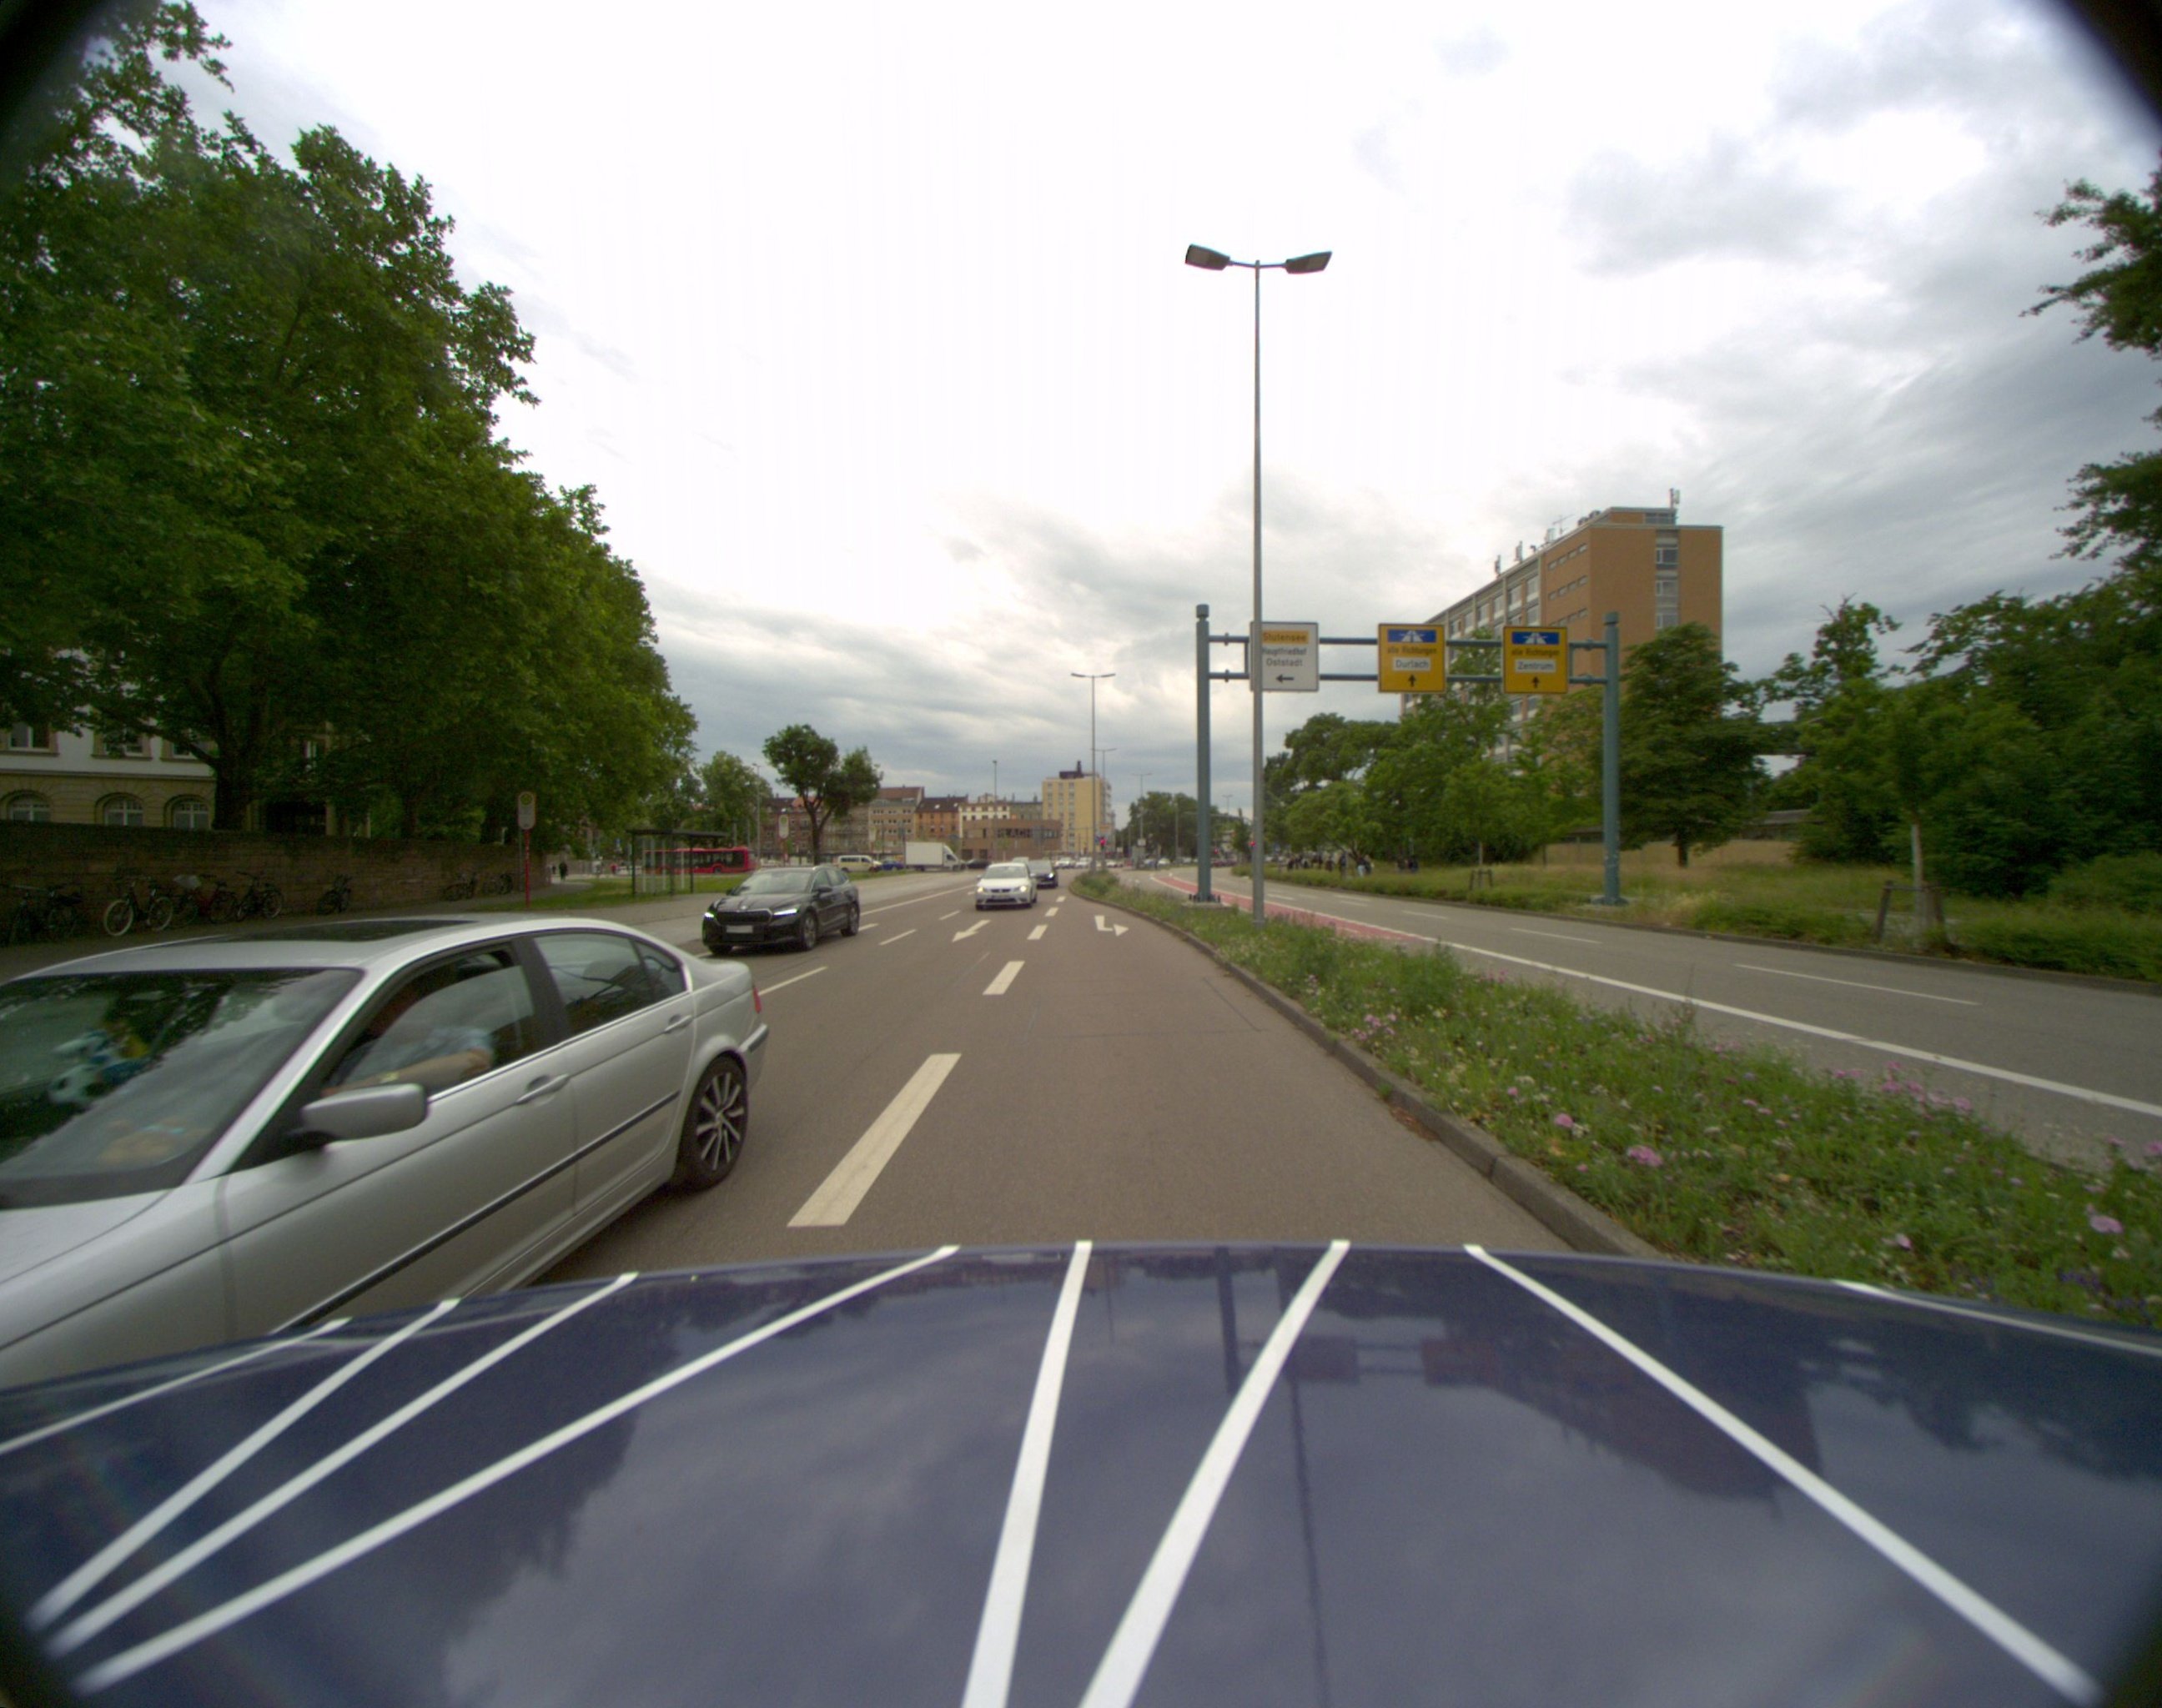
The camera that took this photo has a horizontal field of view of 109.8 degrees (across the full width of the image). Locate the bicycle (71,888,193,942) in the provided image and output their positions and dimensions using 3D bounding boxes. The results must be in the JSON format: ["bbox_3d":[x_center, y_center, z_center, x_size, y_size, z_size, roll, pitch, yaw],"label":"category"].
[{"bbox_3d":[-19.050,1.204,15.314,0.656,0.945,1.767,1,0,-17],"label":"bicycle"}]

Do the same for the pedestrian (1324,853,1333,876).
[{"bbox_3d":[17.623,0.751,54.070,0.575,1.599,0.617,1,0,16],"label":"pedestrian"}]

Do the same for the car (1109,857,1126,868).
[{"bbox_3d":[6.212,1.396,128.210,1.835,1.753,3.917,1,0,18],"label":"car"}]

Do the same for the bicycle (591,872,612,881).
[{"bbox_3d":[-50.736,2.371,80.387,1.695,0.910,0.767,1,0,-10],"label":"bicycle"}]

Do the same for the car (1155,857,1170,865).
[{"bbox_3d":[16.196,1.417,150.051,1.801,1.586,3.766,1,0,25],"label":"car"}]

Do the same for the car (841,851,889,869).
[{"bbox_3d":[-23.906,0.647,84.193,4.712,1.909,1.919,-1,3,-3],"label":"car"}]

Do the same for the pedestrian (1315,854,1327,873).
[{"bbox_3d":[21.560,0.859,68.275,0.635,1.603,0.829,-2,0,-21],"label":"pedestrian"}]

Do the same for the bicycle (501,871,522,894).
[{"bbox_3d":[-26.381,1.299,35.203,0.552,0.986,1.633,1,0,-28],"label":"bicycle"}]

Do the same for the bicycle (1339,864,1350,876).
[{"bbox_3d":[18.754,1.138,54.130,0.661,0.882,1.717,1,0,16],"label":"bicycle"}]

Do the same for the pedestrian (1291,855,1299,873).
[{"bbox_3d":[22.423,1.051,79.753,0.638,1.790,0.762,-1,0,4],"label":"pedestrian"}]

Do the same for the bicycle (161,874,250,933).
[{"bbox_3d":[-19.599,1.084,17.053,0.501,1.214,1.624,1,0,-17],"label":"bicycle"}]

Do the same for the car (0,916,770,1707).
[{"bbox_3d":[-2.725,1.080,2.336,1.726,1.406,4.245,-2,0,0],"label":"car"}]

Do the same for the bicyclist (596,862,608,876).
[{"bbox_3d":[-50.686,1.609,80.399,0.740,1.499,0.767,1,0,-10],"label":"bicyclist"}]

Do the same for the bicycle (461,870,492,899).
[{"bbox_3d":[-24.264,1.206,30.514,0.596,1.122,1.709,1,0,-25],"label":"bicycle"}]

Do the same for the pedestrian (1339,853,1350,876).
[{"bbox_3d":[18.759,0.724,54.128,0.661,1.622,0.764,1,0,16],"label":"pedestrian"}]

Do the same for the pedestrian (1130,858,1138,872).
[{"bbox_3d":[6.853,1.488,98.687,0.917,1.794,0.541,1,0,17],"label":"pedestrian"}]

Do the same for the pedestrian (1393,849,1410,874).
[{"bbox_3d":[17.747,0.407,42.103,0.646,1.350,0.711,1,0,-1],"label":"pedestrian"}]

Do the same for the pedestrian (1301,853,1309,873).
[{"bbox_3d":[18.601,0.747,63.099,0.622,1.685,0.747,1,0,12],"label":"pedestrian"}]

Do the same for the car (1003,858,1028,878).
[{"bbox_3d":[-5.144,1.116,59.996,1.671,1.457,3.660,-1,0,0],"label":"car"}]

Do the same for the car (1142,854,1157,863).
[{"bbox_3d":[12.534,0.857,138.744,1.606,1.586,3.766,1,0,25],"label":"car"}]

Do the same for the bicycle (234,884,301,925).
[{"bbox_3d":[-20.139,1.229,18.833,0.417,0.937,1.523,1,0,-17],"label":"bicycle"}]

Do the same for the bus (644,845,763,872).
[{"bbox_3d":[-43.819,0.486,88.500,12.091,2.891,2.937,-1,0,-3],"label":"bus"}]

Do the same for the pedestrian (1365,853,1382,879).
[{"bbox_3d":[18.936,0.757,49.201,0.709,1.662,0.767,1,0,-5],"label":"pedestrian"}]

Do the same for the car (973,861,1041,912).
[{"bbox_3d":[-2.361,1.015,25.219,1.786,1.454,3.871,-2,0,1],"label":"car"}]

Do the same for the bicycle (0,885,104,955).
[{"bbox_3d":[-18.471,1.134,13.489,0.722,1.093,1.788,1,0,-28],"label":"bicycle"}]

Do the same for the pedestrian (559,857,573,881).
[{"bbox_3d":[-38.039,1.117,56.093,0.759,1.725,0.821,1,0,-39],"label":"pedestrian"}]

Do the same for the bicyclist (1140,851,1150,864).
[{"bbox_3d":[8.572,0.470,101.561,1.191,1.725,0.807,1,0,2],"label":"bicyclist"}]

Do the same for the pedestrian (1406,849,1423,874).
[{"bbox_3d":[18.505,0.397,42.173,0.646,1.354,0.680,1,0,-2],"label":"pedestrian"}]

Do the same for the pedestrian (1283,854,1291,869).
[{"bbox_3d":[22.688,0.837,83.719,0.708,1.661,0.943,-1,0,4],"label":"pedestrian"}]

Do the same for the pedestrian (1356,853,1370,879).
[{"bbox_3d":[18.260,0.750,49.159,0.587,1.650,0.720,1,0,-5],"label":"pedestrian"}]

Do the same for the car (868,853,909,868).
[{"bbox_3d":[-22.571,0.754,89.147,4.431,1.735,1.764,1,0,-6],"label":"car"}]

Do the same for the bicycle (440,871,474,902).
[{"bbox_3d":[-23.684,1.212,28.874,0.596,1.129,1.709,1,0,-25],"label":"bicycle"}]

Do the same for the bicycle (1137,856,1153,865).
[{"bbox_3d":[8.572,0.895,101.565,2.005,1.136,0.807,1,0,2],"label":"bicycle"}]

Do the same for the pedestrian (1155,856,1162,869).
[{"bbox_3d":[10.105,1.077,99.160,0.777,1.657,0.706,1,0,-8],"label":"pedestrian"}]

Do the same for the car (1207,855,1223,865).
[{"bbox_3d":[22.838,1.028,129.332,1.812,1.657,3.955,1,1,23],"label":"car"}]

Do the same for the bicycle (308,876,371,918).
[{"bbox_3d":[-20.534,1.169,21.070,0.599,1.098,1.652,1,0,-19],"label":"bicycle"}]

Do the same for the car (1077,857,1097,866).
[{"bbox_3d":[0.924,1.111,114.553,1.515,1.382,3.438,1,0,27],"label":"car"}]

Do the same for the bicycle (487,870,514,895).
[{"bbox_3d":[-25.669,1.251,33.632,0.596,1.053,1.709,1,0,-25],"label":"bicycle"}]

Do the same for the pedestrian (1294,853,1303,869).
[{"bbox_3d":[24.005,0.754,83.750,0.708,1.661,0.890,-2,0,4],"label":"pedestrian"}]

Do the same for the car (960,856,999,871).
[{"bbox_3d":[-12.210,1.147,91.159,4.293,1.628,1.686,1,0,-27],"label":"car"}]

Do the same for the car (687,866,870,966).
[{"bbox_3d":[-5.933,1.124,15.574,1.912,1.615,4.490,-2,0,0],"label":"car"}]

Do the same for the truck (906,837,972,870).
[{"bbox_3d":[-15.790,-0.080,84.699,6.852,3.392,2.559,-1,2,-5],"label":"truck"}]

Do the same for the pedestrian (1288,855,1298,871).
[{"bbox_3d":[19.309,0.812,69.333,0.730,1.471,0.813,1,0,4],"label":"pedestrian"}]

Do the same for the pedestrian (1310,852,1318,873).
[{"bbox_3d":[19.371,0.725,63.171,0.579,1.702,0.763,1,0,13],"label":"pedestrian"}]

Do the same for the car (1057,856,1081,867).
[{"bbox_3d":[-1.672,0.990,104.158,1.816,1.466,4.039,1,0,22],"label":"car"}]

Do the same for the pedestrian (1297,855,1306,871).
[{"bbox_3d":[20.127,0.798,69.290,0.637,1.471,0.762,1,0,4],"label":"pedestrian"}]

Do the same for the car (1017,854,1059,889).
[{"bbox_3d":[-2.144,0.854,38.889,1.888,1.591,4.446,-3,0,-1],"label":"car"}]
